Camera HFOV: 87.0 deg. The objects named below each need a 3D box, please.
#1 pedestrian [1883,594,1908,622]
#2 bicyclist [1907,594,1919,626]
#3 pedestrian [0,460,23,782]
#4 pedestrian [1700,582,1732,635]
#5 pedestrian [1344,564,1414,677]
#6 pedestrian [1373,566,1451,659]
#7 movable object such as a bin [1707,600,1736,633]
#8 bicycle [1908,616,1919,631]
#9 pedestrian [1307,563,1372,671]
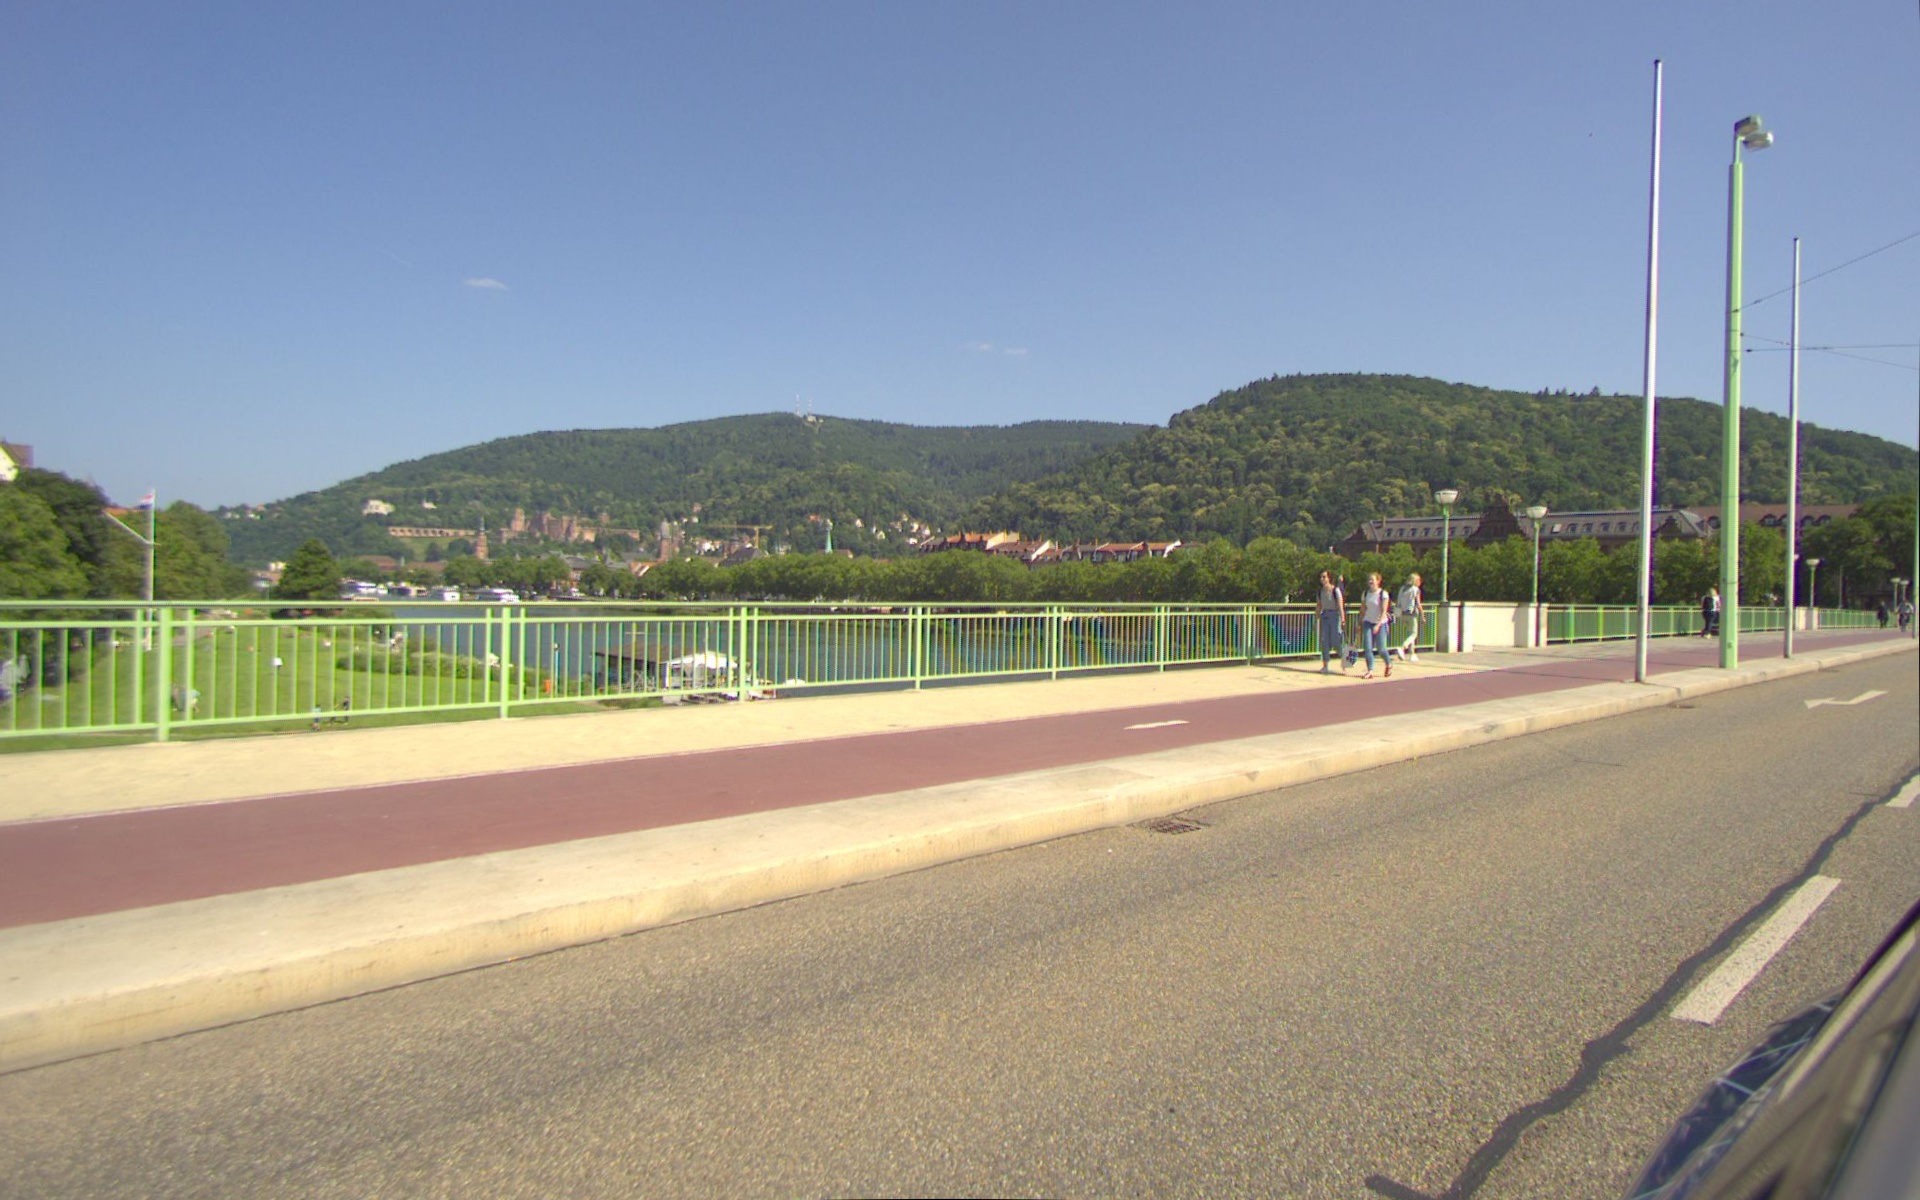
[{"bbox_3d":[58.425,0.517,63.207,1.063,1.683,0.949,0,2,-41],"label":"pedestrian"},{"bbox_3d":[51.361,0.554,54.253,0.829,1.685,0.731,1,1,-40],"label":"bicyclist"},{"bbox_3d":[-6.390,0.110,6.044,1.117,1.921,0.927,0,1,-41],"label":"pedestrian"},{"bbox_3d":[25.420,0.271,34.021,0.844,1.727,0.664,0,2,-41],"label":"pedestrian"},{"bbox_3d":[6.479,0.292,15.644,0.811,1.679,0.664,0,2,-41],"label":"pedestrian"},{"bbox_3d":[8.606,0.221,19.263,1.063,1.683,0.949,0,2,-41],"label":"pedestrian"},{"bbox_3d":[26.019,0.563,34.586,0.917,1.104,0.583,0,1,-42],"label":"movable object such as a bin"},{"bbox_3d":[51.402,1.254,54.276,1.834,0.775,0.595,0,2,-41],"label":"bicycle"},{"bbox_3d":[6.090,0.251,16.240,0.733,1.679,0.668,0,2,-41],"label":"pedestrian"}]
